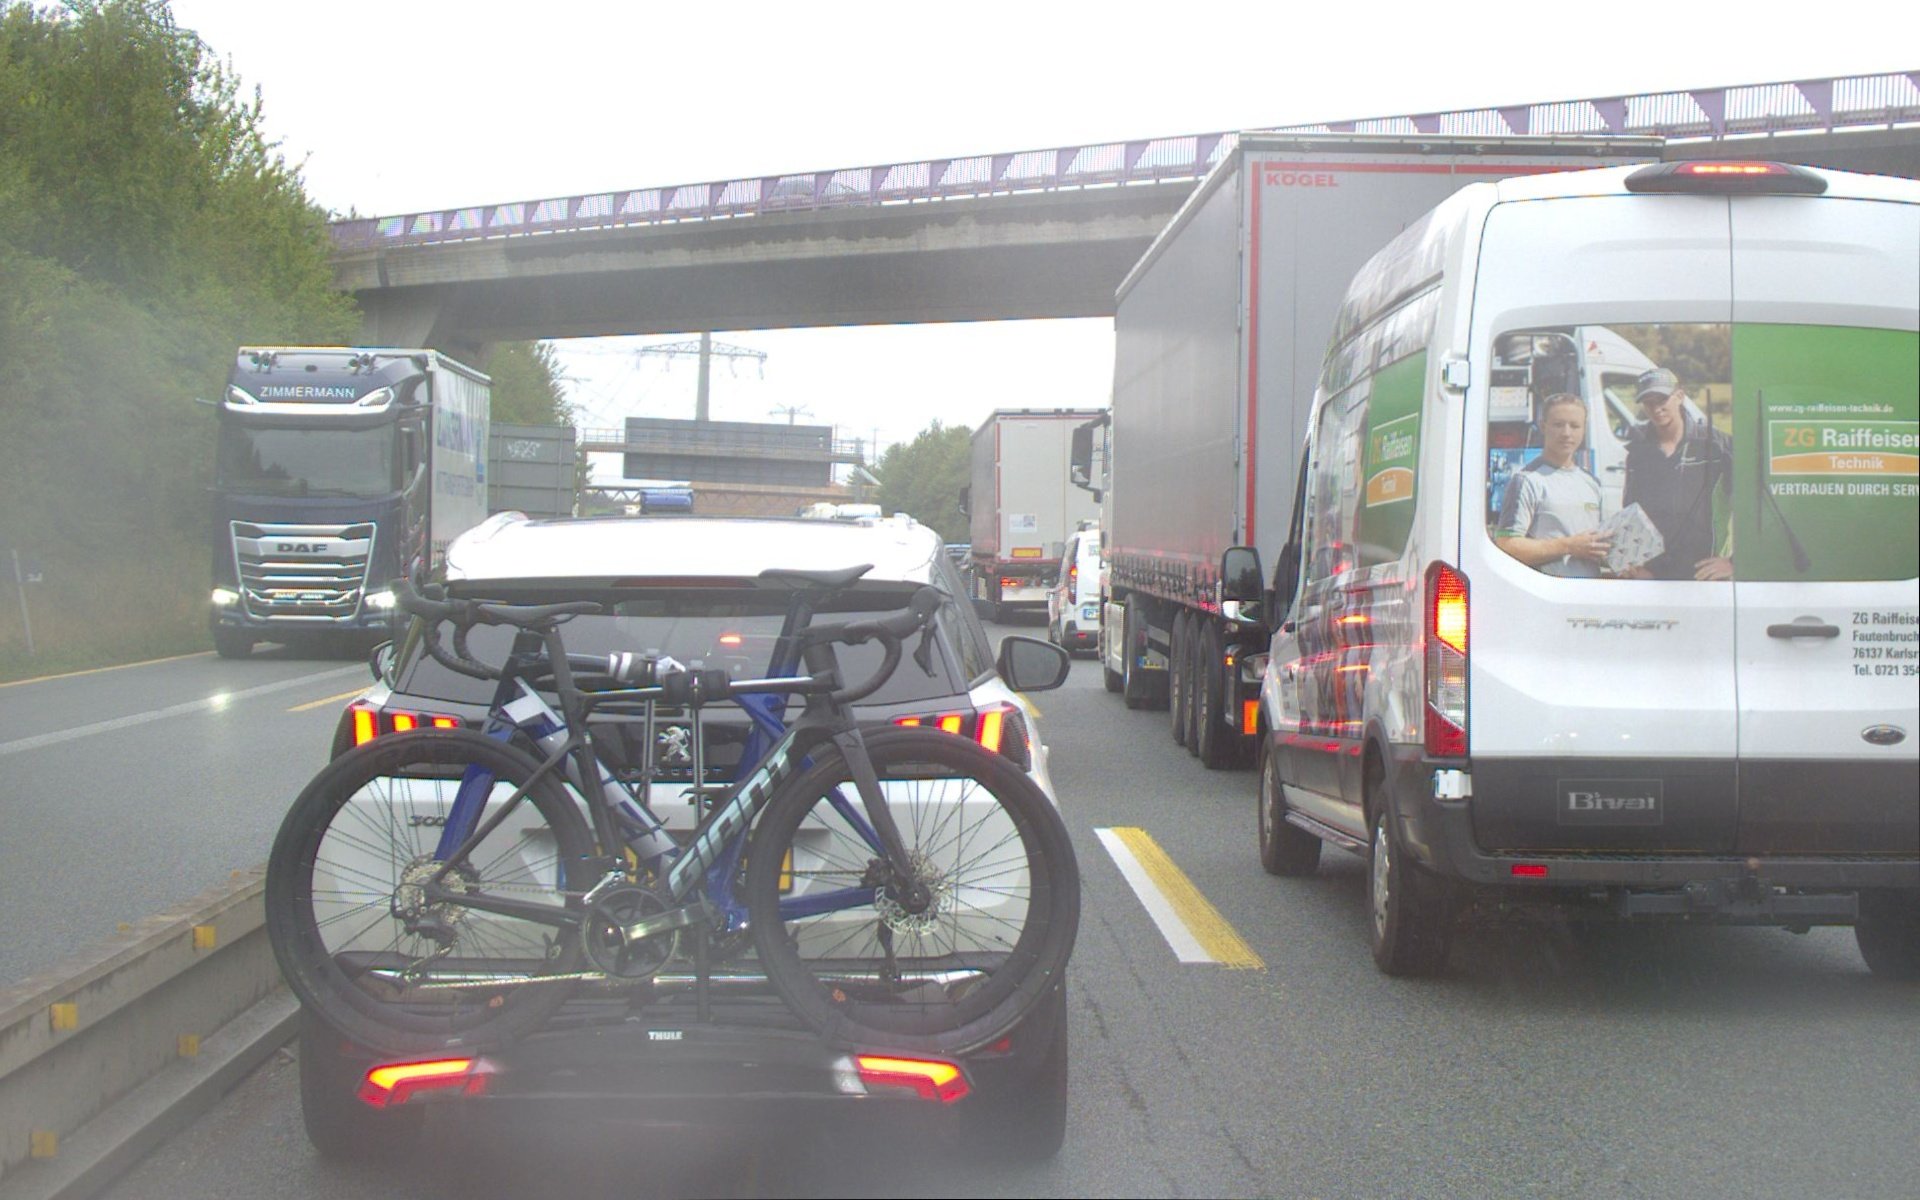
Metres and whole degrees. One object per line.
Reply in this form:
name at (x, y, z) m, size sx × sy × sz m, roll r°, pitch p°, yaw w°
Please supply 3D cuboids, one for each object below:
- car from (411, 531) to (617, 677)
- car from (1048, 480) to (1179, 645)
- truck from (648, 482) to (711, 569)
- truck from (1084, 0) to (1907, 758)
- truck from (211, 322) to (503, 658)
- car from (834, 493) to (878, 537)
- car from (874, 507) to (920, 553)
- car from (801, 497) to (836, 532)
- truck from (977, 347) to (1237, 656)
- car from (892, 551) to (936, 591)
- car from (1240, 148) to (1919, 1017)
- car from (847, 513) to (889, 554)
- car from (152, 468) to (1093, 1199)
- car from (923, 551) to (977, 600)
car at (-4.818, 0.024, 37.615) m, size 1.938 × 1.489 × 4.001 m, roll 1°, pitch 1°, yaw -3°
car at (2.094, -0.518, 47.855) m, size 1.670 × 2.173 × 4.535 m, roll 1°, pitch 1°, yaw 1°
truck at (-13.734, -3.593, 168.647) m, size 2.464 × 4.109 × 10.089 m, roll 1°, pitch 1°, yaw -1°
truck at (3.475, -2.041, 30.108) m, size 3.979 × 5.654 × 20.376 m, roll 1°, pitch 1°, yaw 0°
truck at (-8.121, -1.407, 47.510) m, size 2.464 × 4.109 × 10.089 m, roll 1°, pitch 1°, yaw -1°
car at (-5.613, -4.577, 186.327) m, size 2.239 × 2.299 × 4.572 m, roll 1°, pitch 1°, yaw 0°
car at (-2.813, -3.097, 153.214) m, size 1.993 × 2.007 × 4.000 m, roll 1°, pitch 1°, yaw -1°
car at (-8.974, -5.426, 218.714) m, size 1.993 × 2.119 × 4.527 m, roll 1°, pitch 1°, yaw 0°
truck at (2.900, -1.922, 73.818) m, size 4.743 × 5.654 × 20.375 m, roll 1°, pitch 1°, yaw 1°
car at (-1.773, -1.136, 132.905) m, size 1.638 × 1.492 × 3.666 m, roll 1°, pitch 1°, yaw 0°
car at (2.445, -0.081, 13.698) m, size 2.144 × 2.667 × 6.117 m, roll 1°, pitch 1°, yaw 0°
car at (-4.654, -3.358, 173.583) m, size 1.993 × 2.007 × 4.000 m, roll 1°, pitch 1°, yaw 0°
car at (-0.618, 0.548, 8.977) m, size 1.810 × 1.632 × 4.635 m, roll 1°, pitch 1°, yaw 1°
car at (-0.306, -0.761, 106.599) m, size 1.638 × 1.492 × 3.666 m, roll 1°, pitch 1°, yaw 0°
